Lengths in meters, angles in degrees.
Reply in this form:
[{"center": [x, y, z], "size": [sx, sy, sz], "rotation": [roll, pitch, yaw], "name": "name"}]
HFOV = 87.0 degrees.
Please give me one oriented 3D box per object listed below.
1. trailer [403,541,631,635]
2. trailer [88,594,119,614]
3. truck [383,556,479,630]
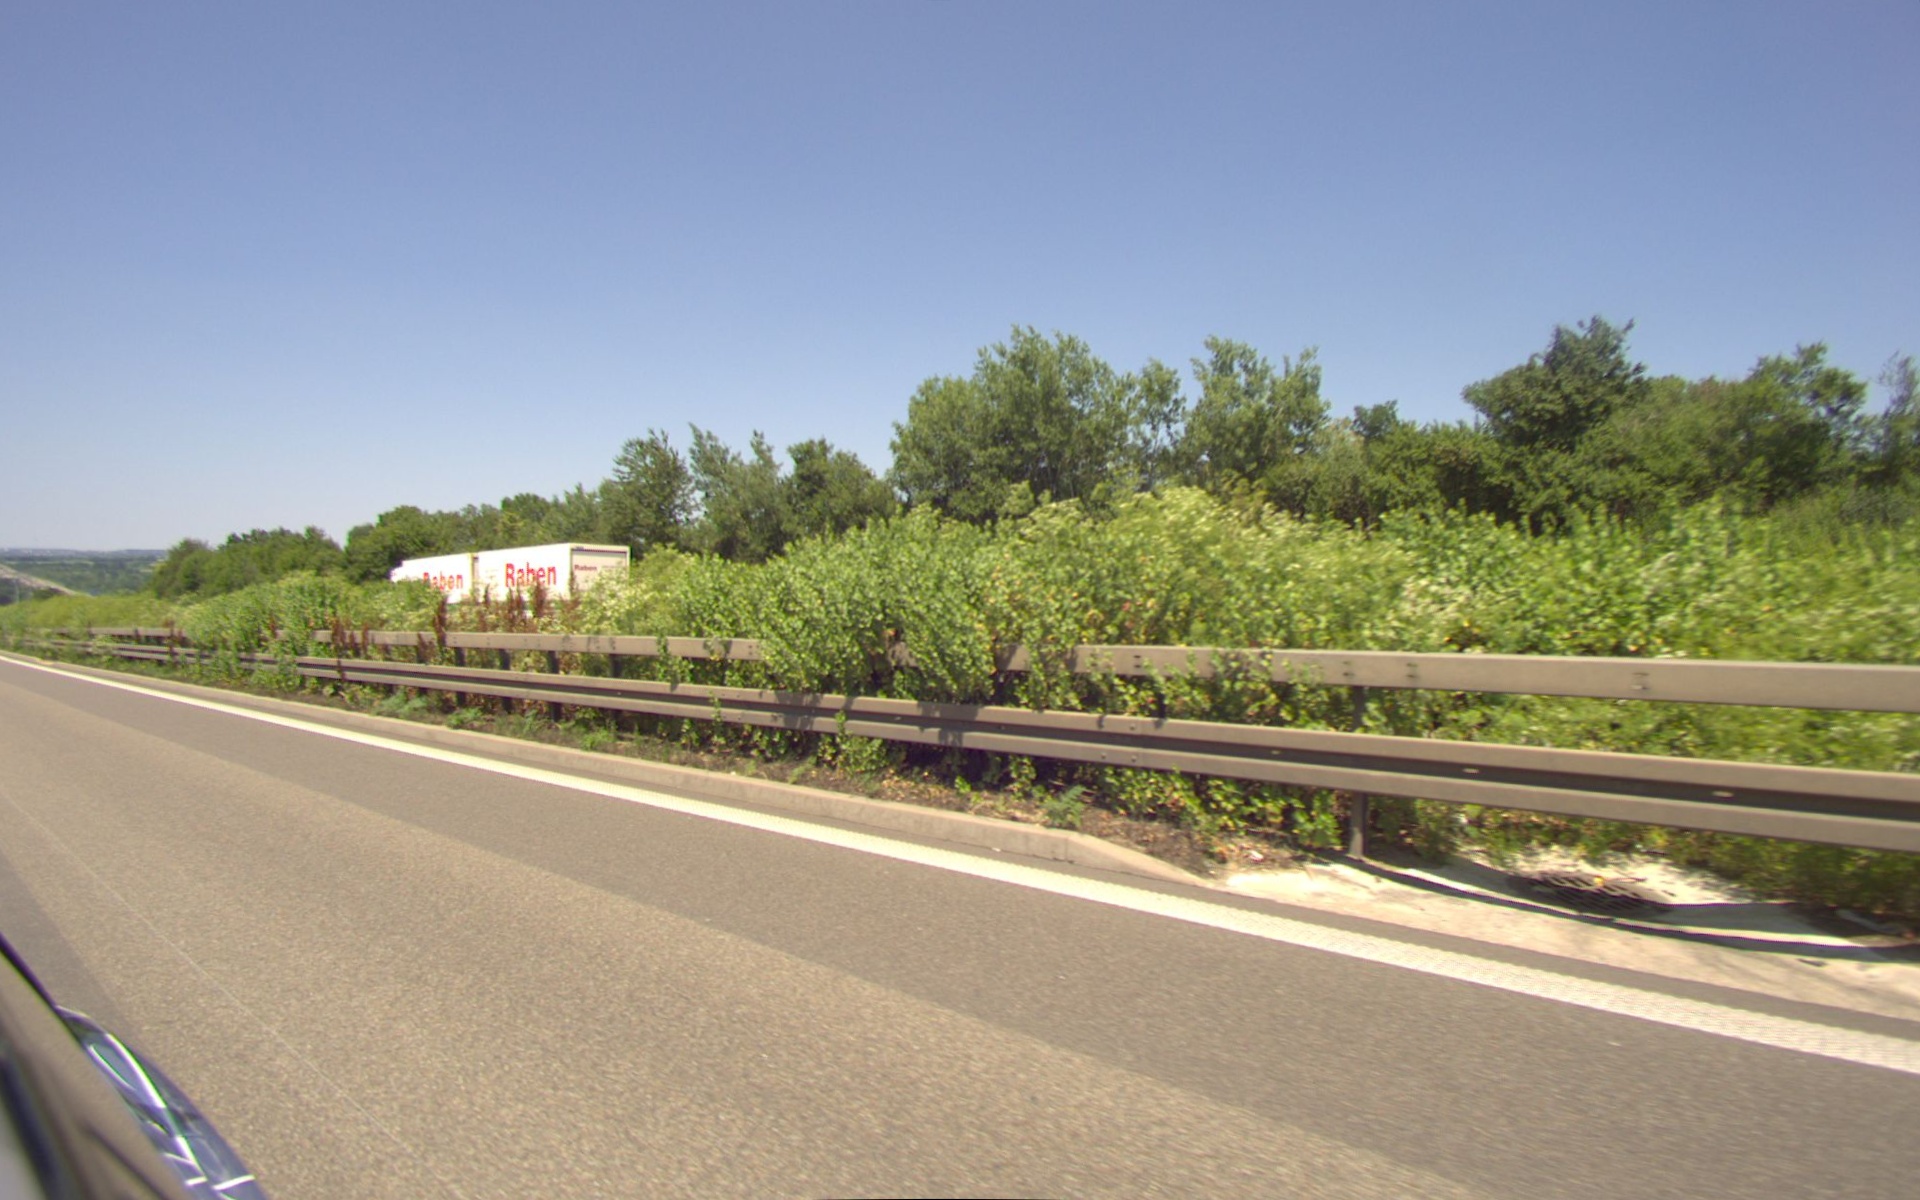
[{"center": [-19.526, -0.326, 43.481], "size": [15.823, 3.469, 2.570], "rotation": [-1, -1, 42], "name": "trailer"}, {"center": [-123.041, 0.672, 145.360], "size": [2.537, 2.730, 11.413], "rotation": [0, -1, -45], "name": "trailer"}, {"center": [-25.636, -0.268, 48.964], "size": [5.044, 3.376, 2.569], "rotation": [-1, -1, 42], "name": "truck"}]
